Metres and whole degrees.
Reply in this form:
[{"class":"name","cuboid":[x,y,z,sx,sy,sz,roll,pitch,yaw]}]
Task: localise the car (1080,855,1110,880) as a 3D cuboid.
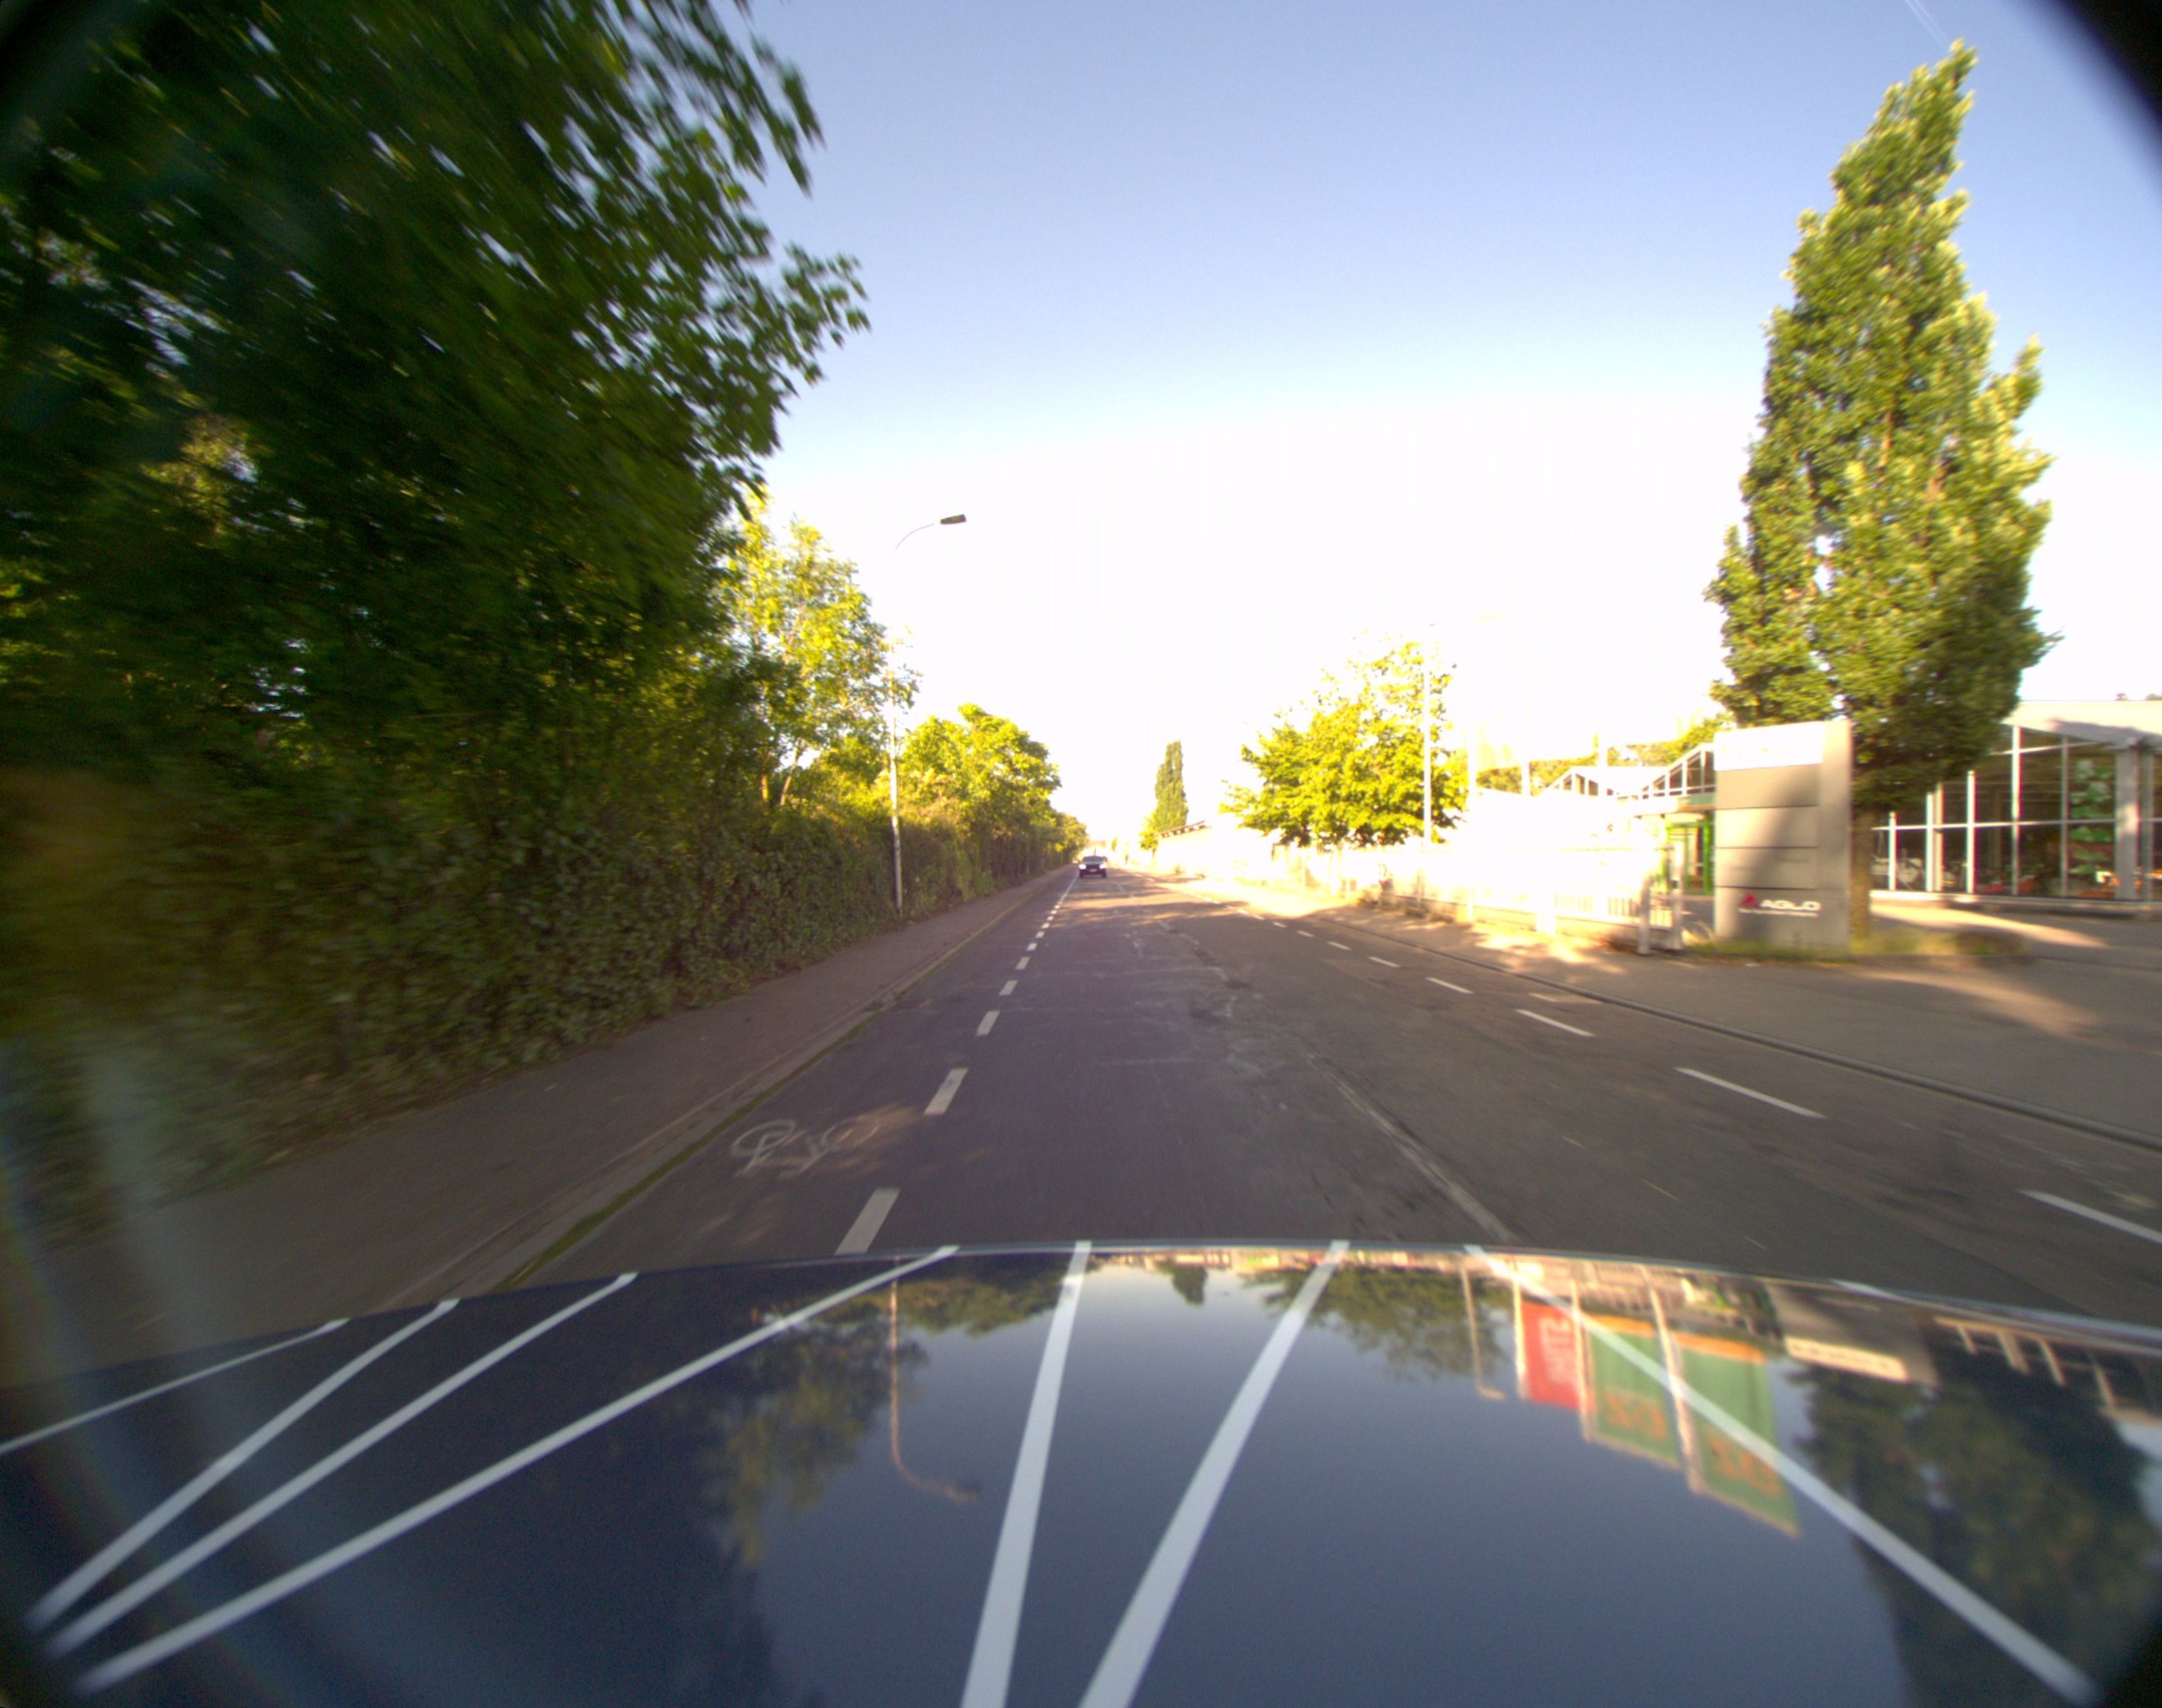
[{"class":"car","cuboid":[0.960,0.961,54.788,1.999,1.608,4.000,-4,0,0]}]
